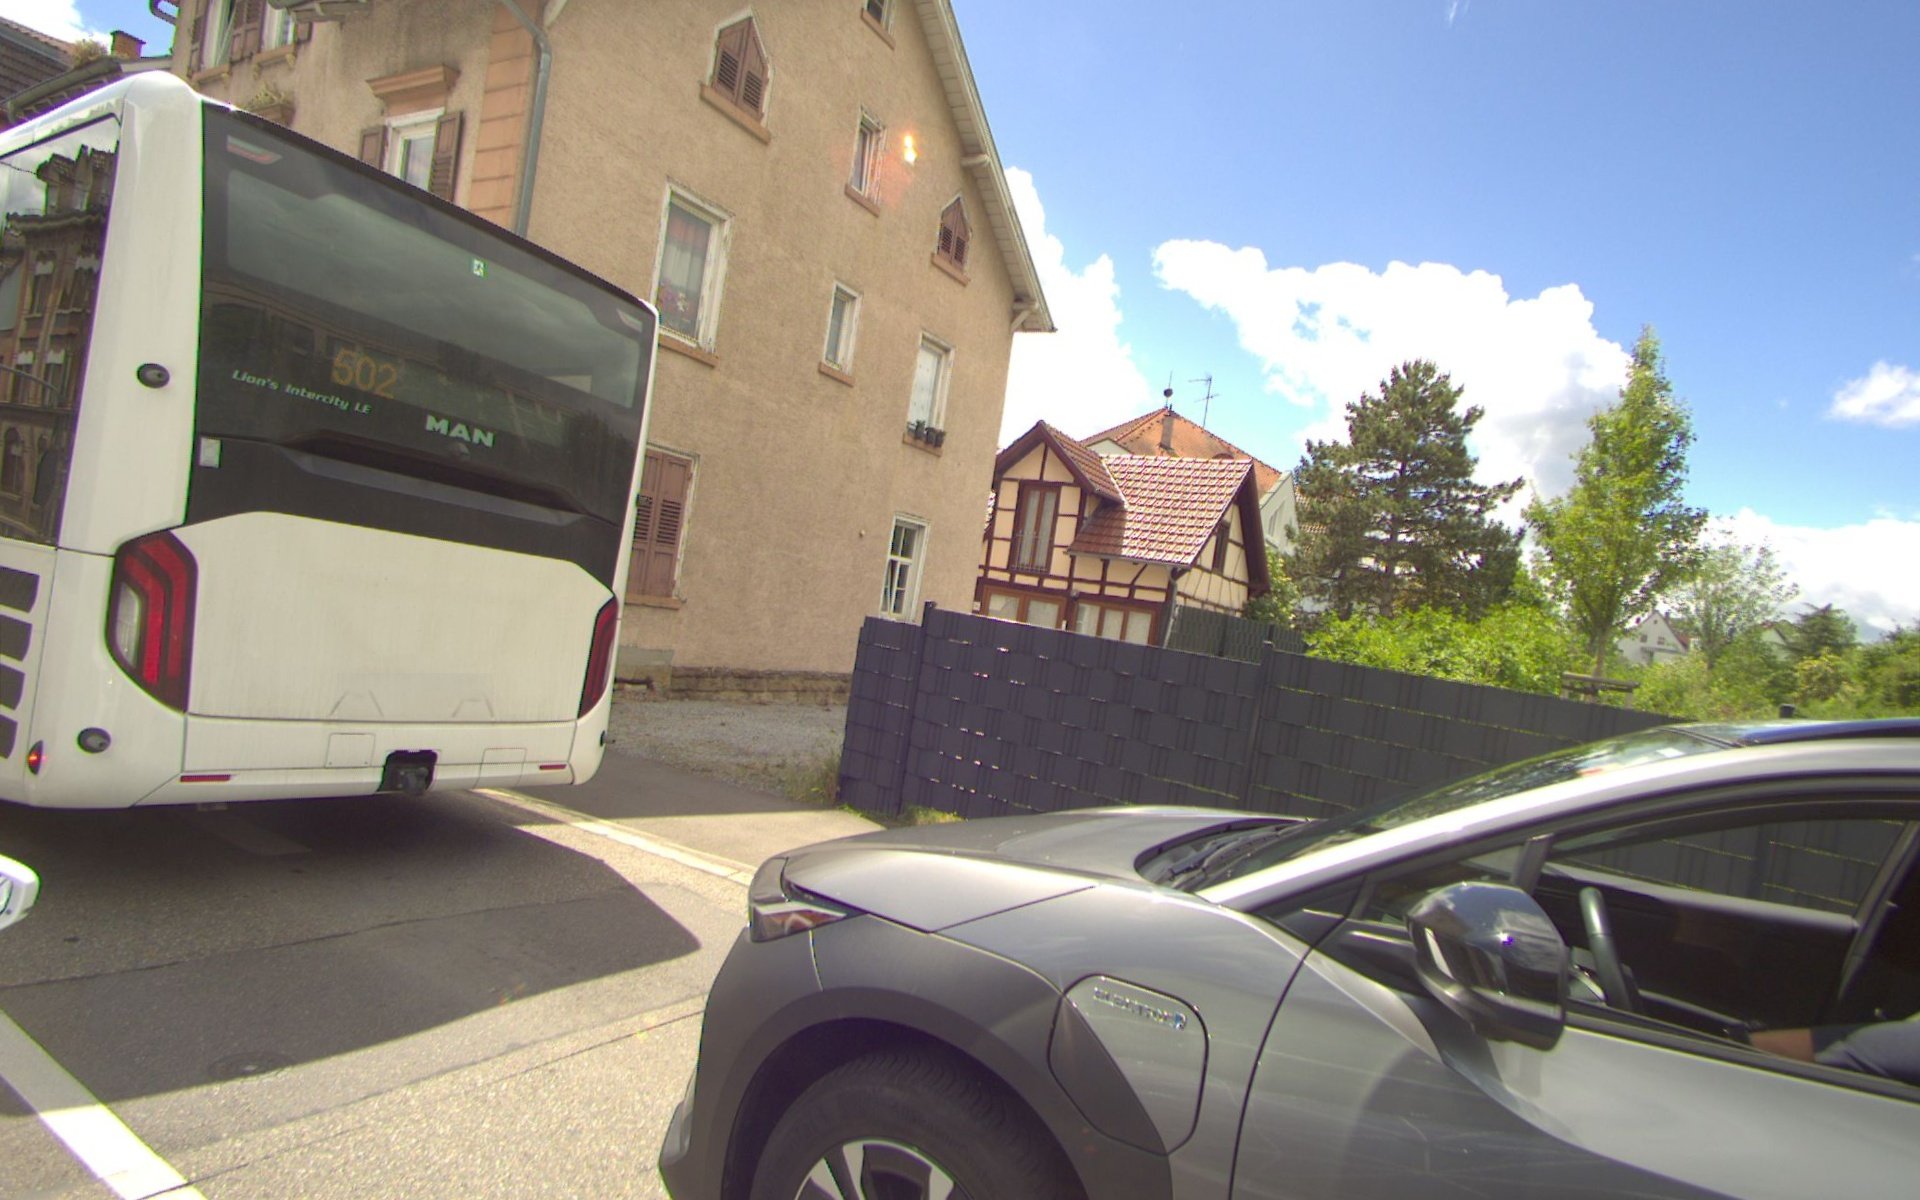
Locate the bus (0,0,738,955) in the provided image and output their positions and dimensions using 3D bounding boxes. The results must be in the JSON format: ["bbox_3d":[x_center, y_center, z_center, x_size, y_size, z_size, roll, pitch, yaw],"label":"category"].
[{"bbox_3d":[-7.424,-1.007,7.788,12.281,3.551,2.910,6,-2,32],"label":"bus"}]

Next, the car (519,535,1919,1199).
[{"bbox_3d":[1.545,0.990,1.836,4.504,1.648,1.997,7,-1,31],"label":"car"}]
